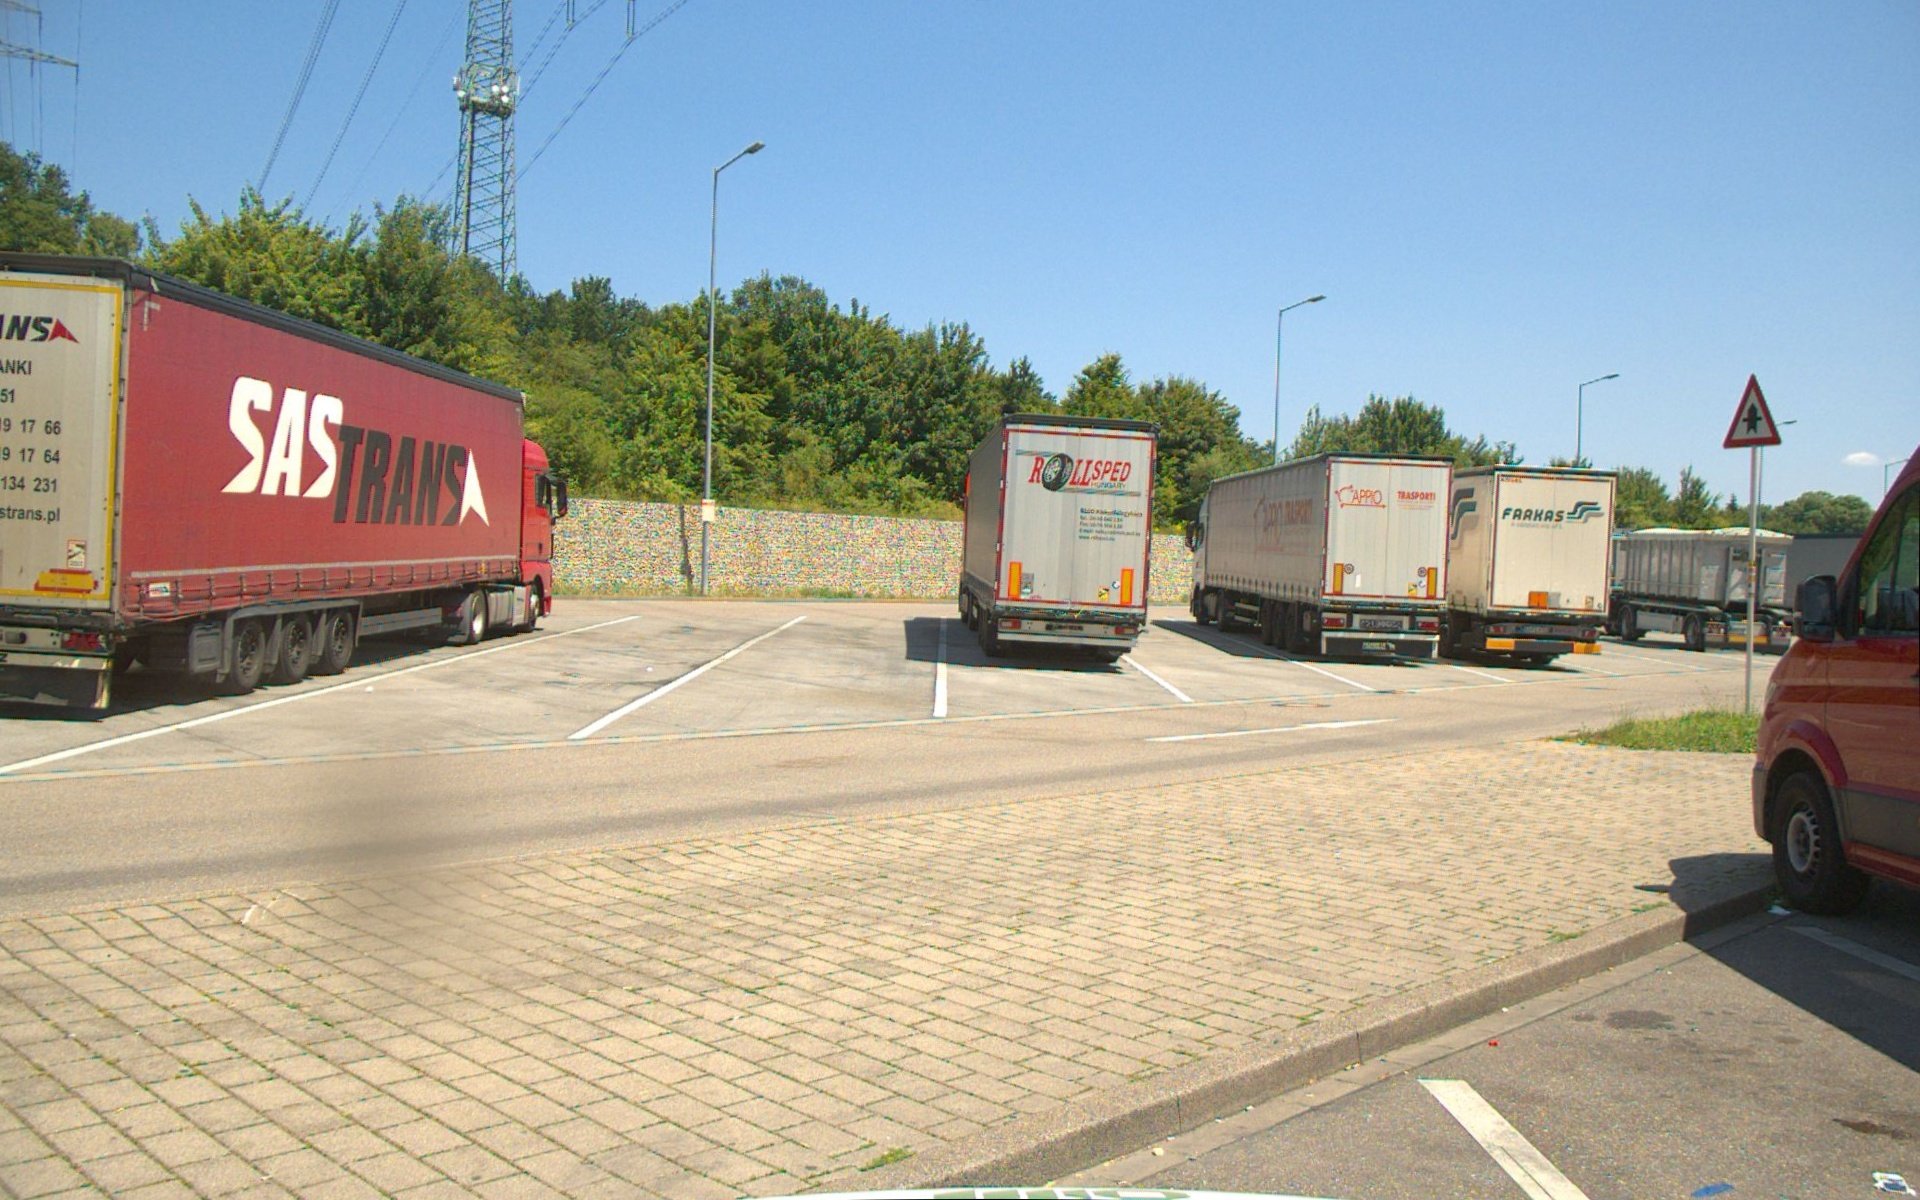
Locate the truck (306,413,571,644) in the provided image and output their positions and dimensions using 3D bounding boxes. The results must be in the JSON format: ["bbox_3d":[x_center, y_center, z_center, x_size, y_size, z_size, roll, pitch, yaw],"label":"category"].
[{"bbox_3d":[-8.801,-1.204,28.608,2.794,3.487,5.482,2,2,-1],"label":"truck"}]

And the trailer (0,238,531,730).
[{"bbox_3d":[-8.687,-1.295,21.172,2.848,4.203,13.723,2,2,-1],"label":"trailer"}]

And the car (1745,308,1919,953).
[{"bbox_3d":[5.002,0.164,5.546,2.023,2.742,6.397,1,1,4],"label":"car"}]

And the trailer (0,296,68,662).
[{"bbox_3d":[-12.532,-1.307,15.689,2.673,4.282,10.170,2,2,-1],"label":"trailer"}]

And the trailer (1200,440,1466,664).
[{"bbox_3d":[8.203,-1.135,38.814,2.781,4.204,13.722,2,2,-1],"label":"trailer"}]

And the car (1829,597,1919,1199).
[{"bbox_3d":[2.591,0.798,1.141,1.703,1.508,3.813,1,1,-6],"label":"car"}]

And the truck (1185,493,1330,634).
[{"bbox_3d":[8.088,-1.034,45.623,2.794,3.544,5.482,2,2,-1],"label":"truck"}]

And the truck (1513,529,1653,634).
[{"bbox_3d":[22.000,-0.709,58.697,2.794,3.423,5.484,3,2,0],"label":"truck"}]

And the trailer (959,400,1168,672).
[{"bbox_3d":[1.642,-1.228,33.225,2.848,4.204,13.720,2,2,-1],"label":"trailer"}]

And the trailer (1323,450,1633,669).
[{"bbox_3d":[11.762,-1.014,39.619,2.781,4.204,13.722,2,2,-1],"label":"trailer"}]

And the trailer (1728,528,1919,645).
[{"bbox_3d":[34.932,-0.638,65.397,2.780,4.119,13.726,2,2,1],"label":"trailer"}]

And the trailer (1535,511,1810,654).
[{"bbox_3d":[21.919,-0.680,52.193,2.780,3.781,13.726,3,2,1],"label":"trailer"}]

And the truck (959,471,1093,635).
[{"bbox_3d":[1.474,-1.140,39.834,2.794,3.544,5.482,2,2,-1],"label":"truck"}]
